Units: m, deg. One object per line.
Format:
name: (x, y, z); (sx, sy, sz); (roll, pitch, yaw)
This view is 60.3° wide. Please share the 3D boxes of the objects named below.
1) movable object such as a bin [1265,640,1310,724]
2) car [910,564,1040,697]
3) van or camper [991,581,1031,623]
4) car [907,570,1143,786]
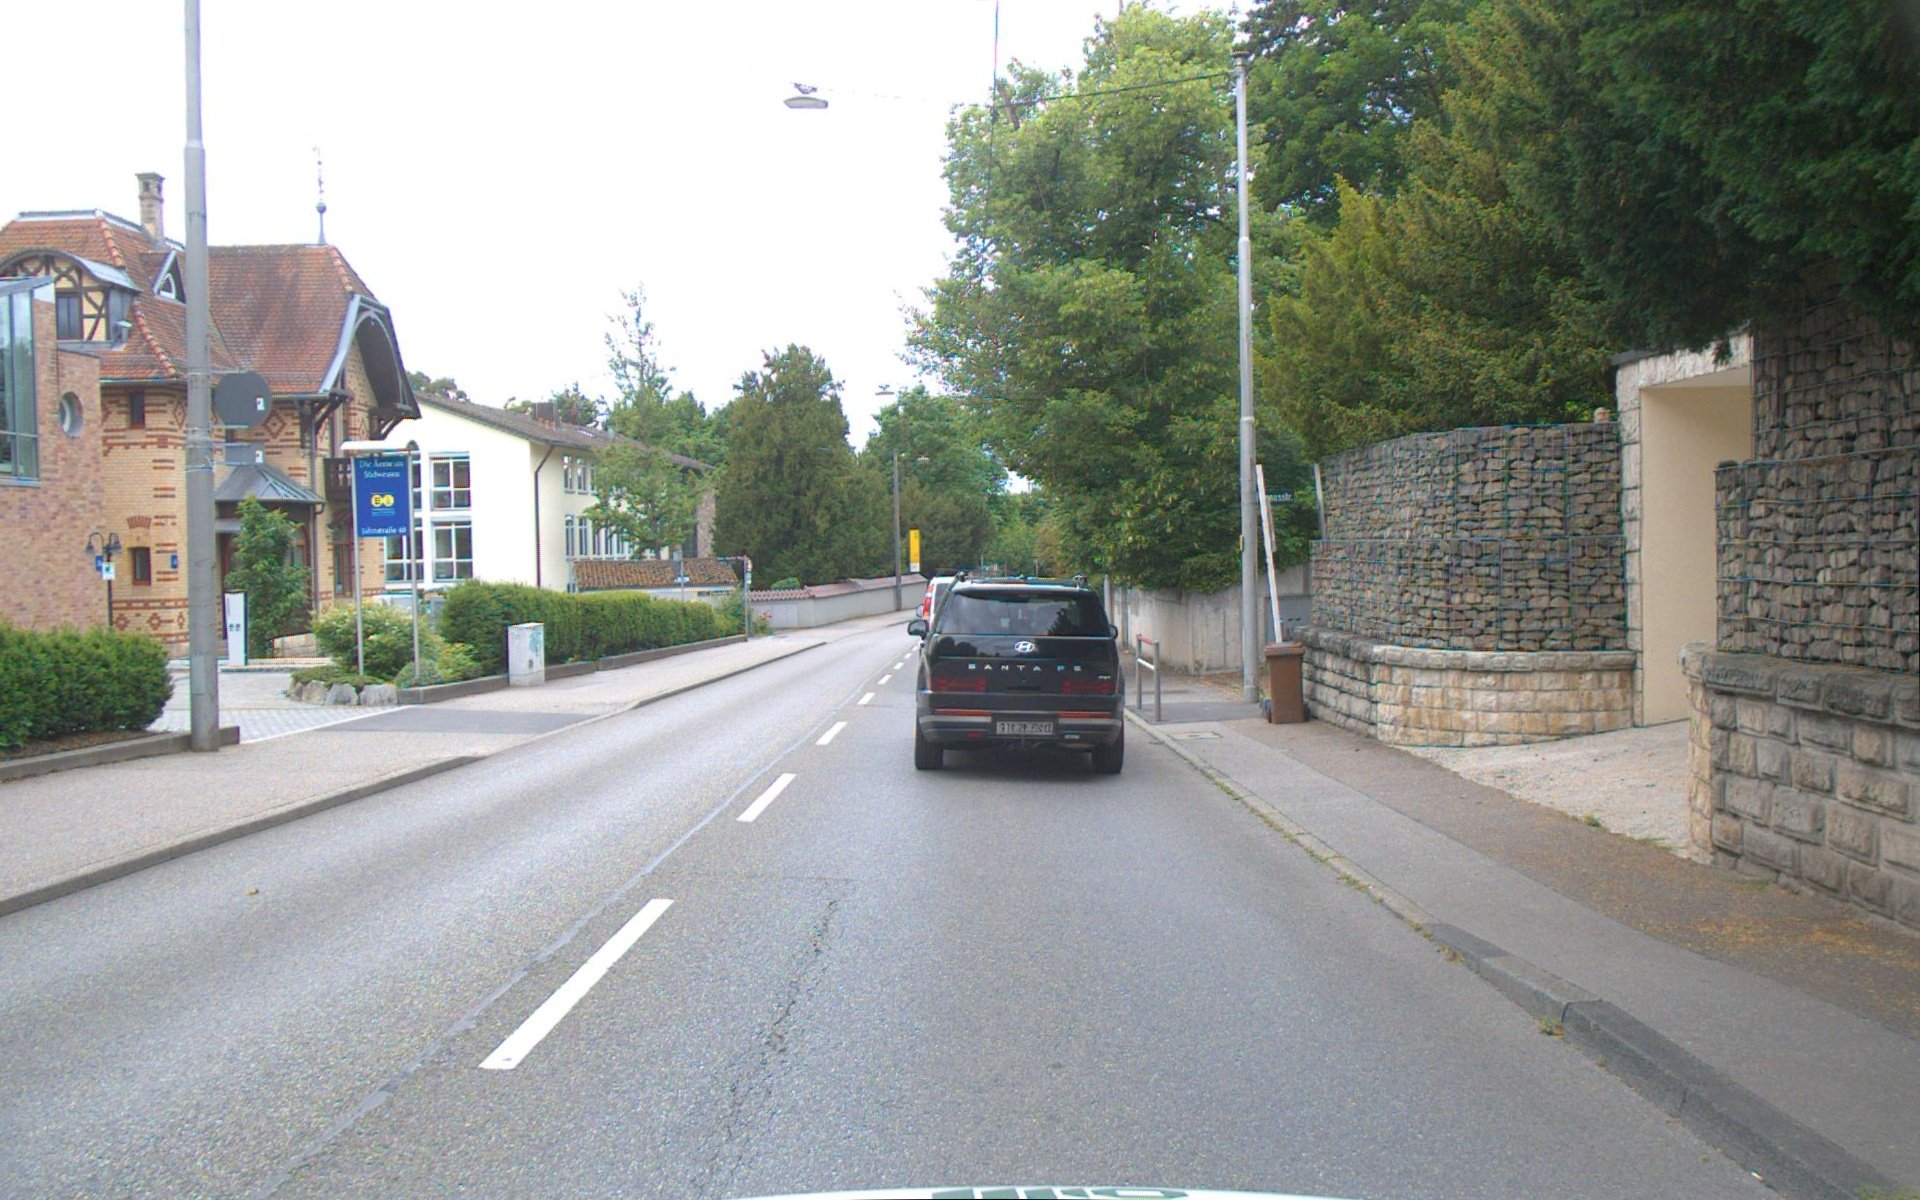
movable object such as a bin: (3.801, 0.945, 19.192); (0.435, 0.925, 0.394); (-4, -1, 9)
car: (0.174, 0.437, 28.124); (1.918, 1.989, 4.222); (1, 2, -3)
van or camper: (2.672, 0.088, 85.956); (1.640, 2.042, 3.942); (-1, 2, 8)
car: (0.556, 0.634, 15.862); (1.917, 1.743, 4.223); (2, 0, 0)
